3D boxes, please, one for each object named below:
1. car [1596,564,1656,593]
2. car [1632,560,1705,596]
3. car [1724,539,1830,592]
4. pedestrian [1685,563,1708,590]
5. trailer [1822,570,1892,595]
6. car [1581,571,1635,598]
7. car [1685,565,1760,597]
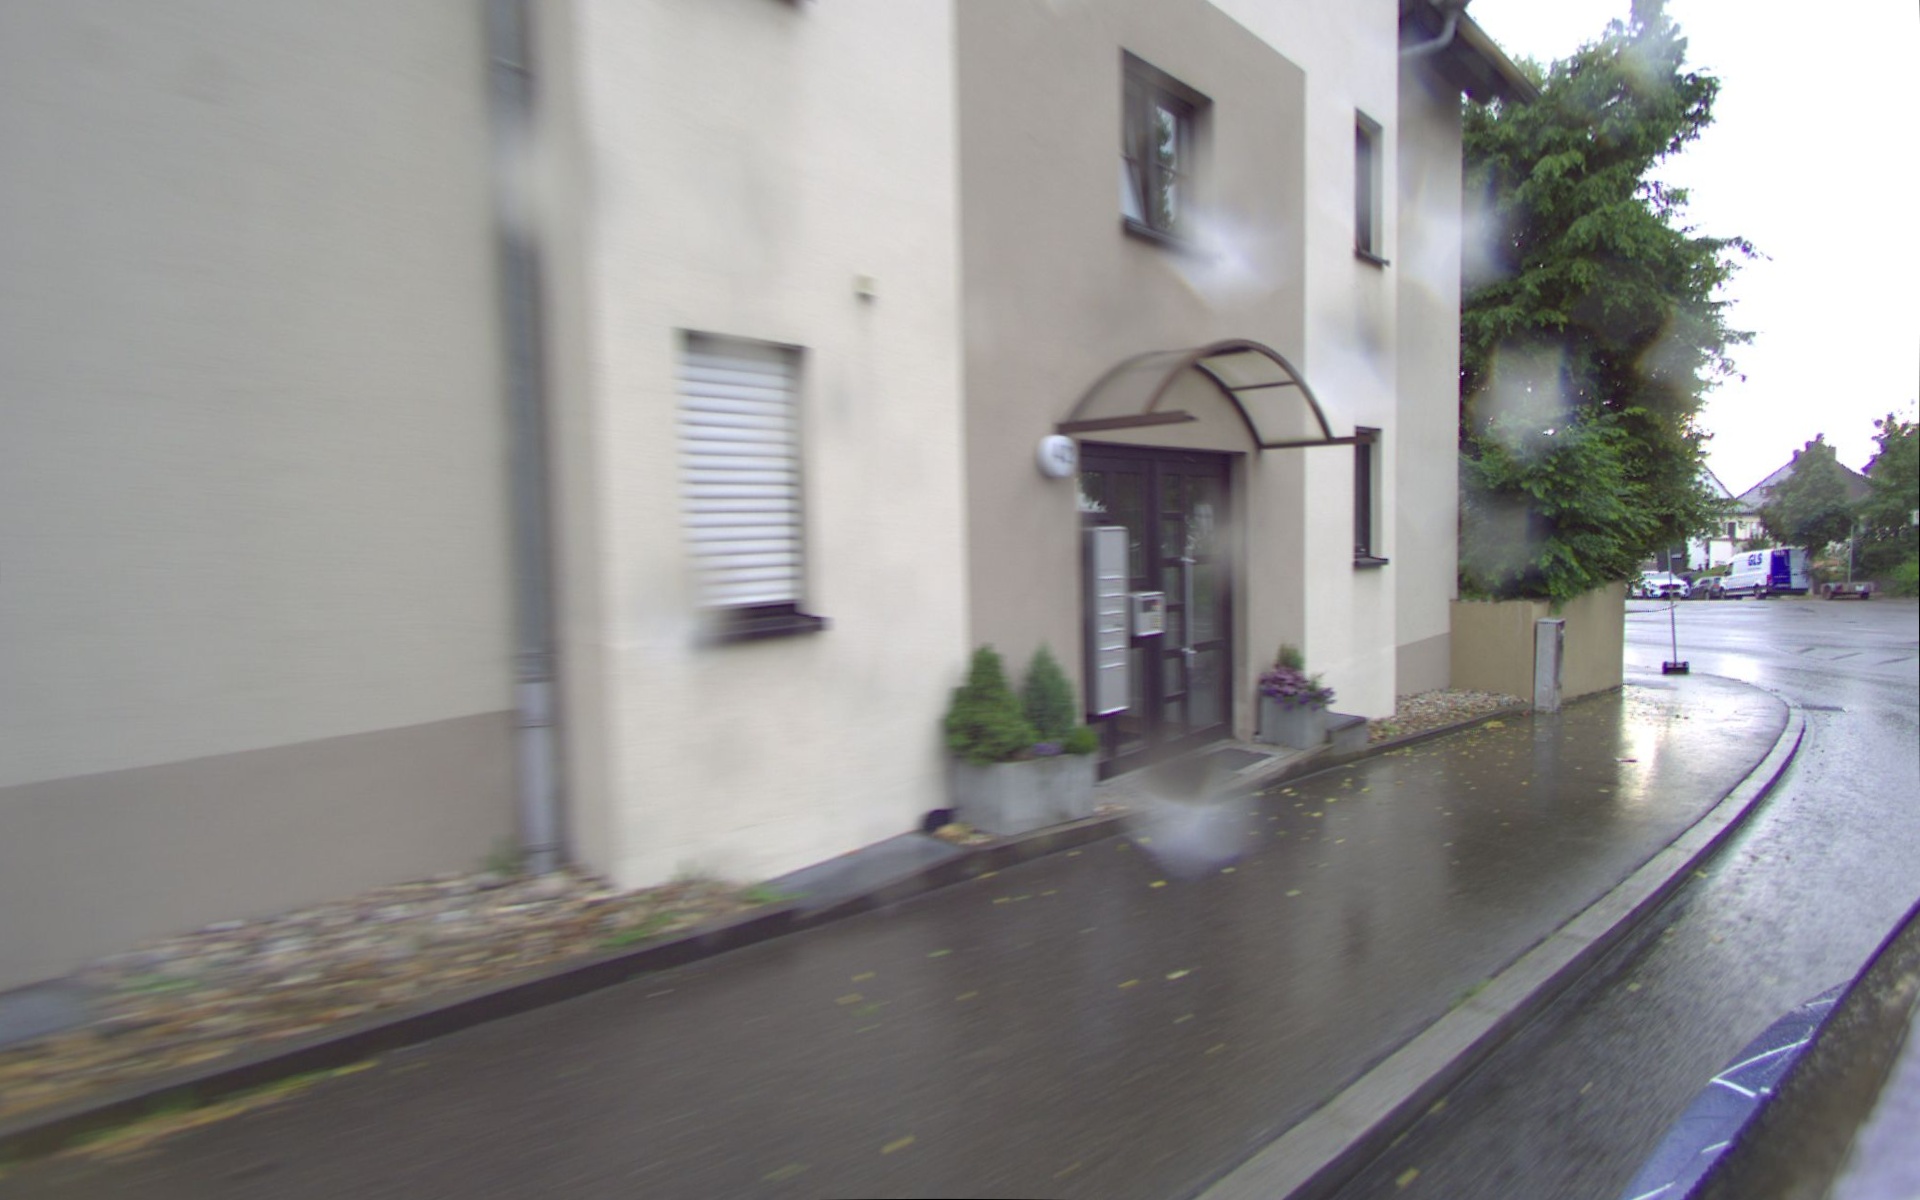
[{"bbox_3d":[39.278,-1.295,59.759,2.043,1.528,4.451,-2,2,22],"label":"car"},{"bbox_3d":[37.311,-1.194,53.432,2.043,1.727,4.760,-2,2,22],"label":"car"},{"bbox_3d":[43.012,-1.849,53.490,2.162,2.554,6.220,-2,1,18],"label":"car"},{"bbox_3d":[42.961,-1.391,59.026,0.816,1.528,0.970,-2,1,23],"label":"pedestrian"},{"bbox_3d":[40.961,-0.832,46.289,1.576,1.019,2.800,-3,1,24],"label":"trailer"},{"bbox_3d":[41.444,-1.027,64.821,2.043,1.528,4.451,-2,2,22],"label":"car"},{"bbox_3d":[45.145,-1.170,60.020,2.040,1.727,4.768,-2,1,18],"label":"car"}]
